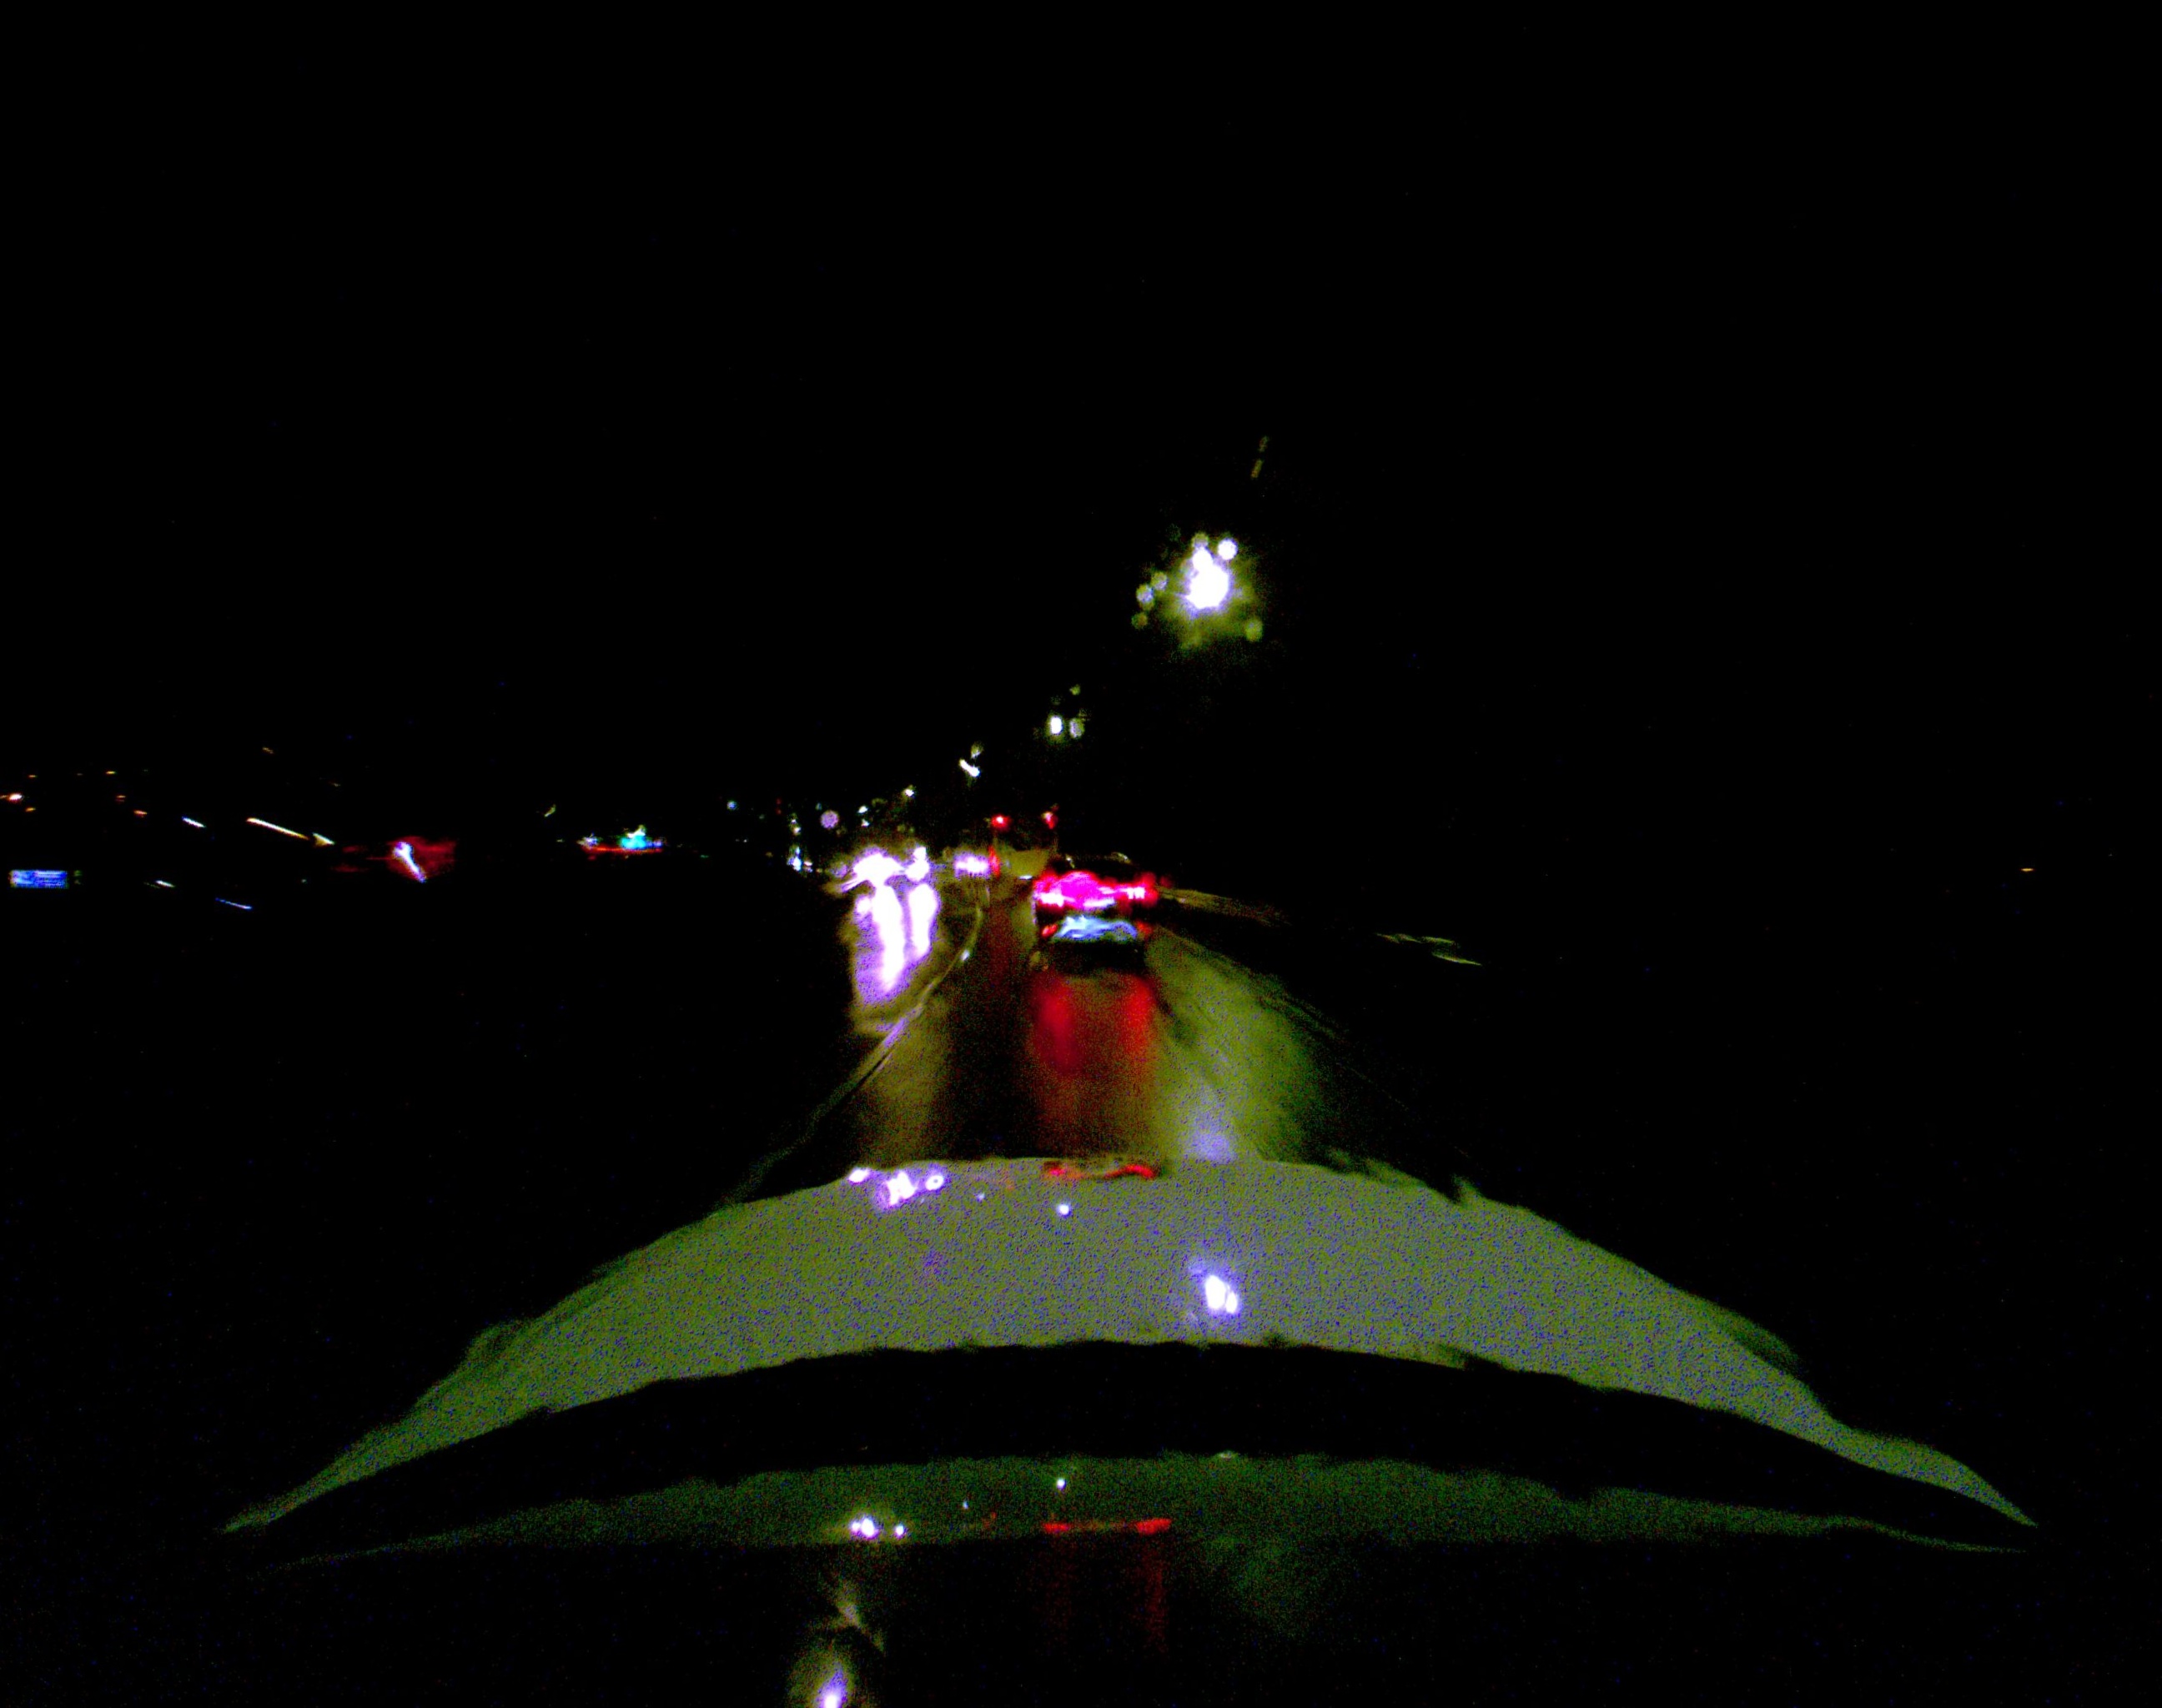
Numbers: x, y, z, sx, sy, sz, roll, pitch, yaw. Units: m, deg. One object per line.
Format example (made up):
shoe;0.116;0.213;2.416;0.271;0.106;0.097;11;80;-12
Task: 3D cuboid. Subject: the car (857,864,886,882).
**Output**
car;-17.239;1.543;66.941;1.736;1.405;3.834;-2;0;-22

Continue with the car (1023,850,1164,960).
car;0.125;0.713;13.524;1.988;1.524;3.997;-1;0;-2

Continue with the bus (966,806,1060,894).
bus;-3.139;-0.140;34.777;3.045;3.212;9.016;-2;0;-11

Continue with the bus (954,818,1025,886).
bus;-5.070;-0.091;43.599;3.045;3.212;9.016;-2;0;-11

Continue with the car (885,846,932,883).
car;-10.028;0.566;46.993;2.453;1.988;5.468;-1;0;-14
